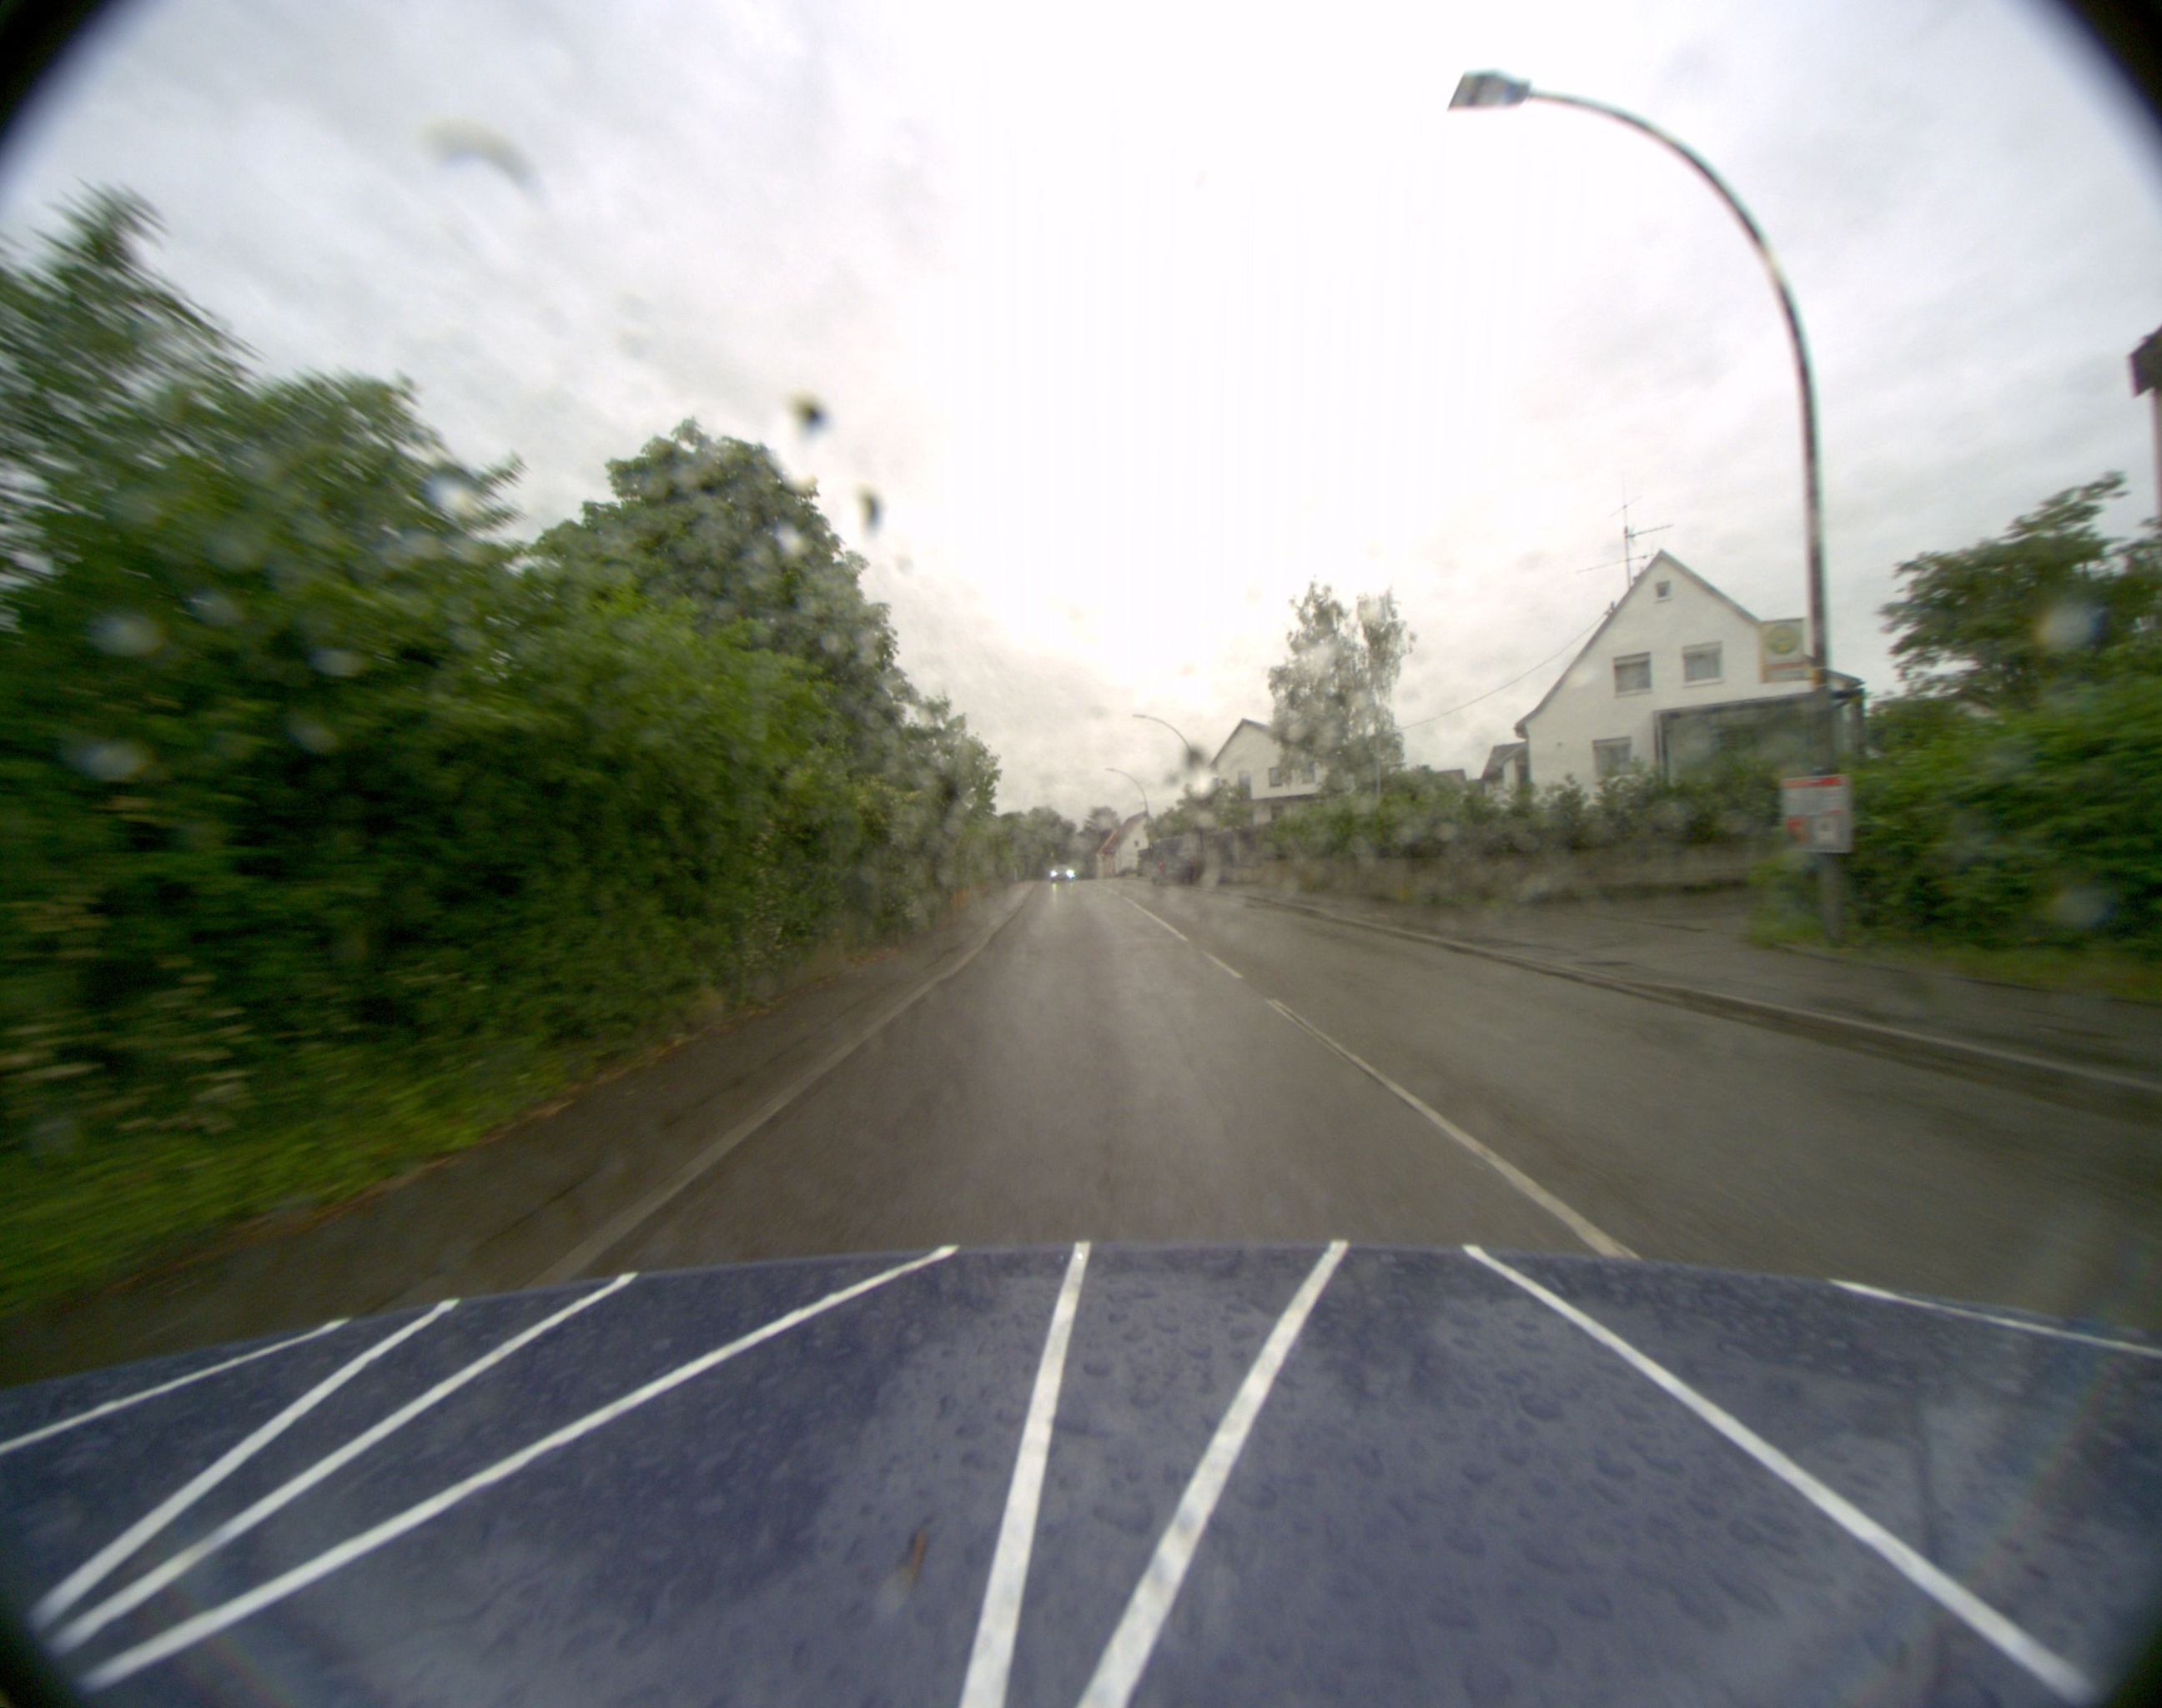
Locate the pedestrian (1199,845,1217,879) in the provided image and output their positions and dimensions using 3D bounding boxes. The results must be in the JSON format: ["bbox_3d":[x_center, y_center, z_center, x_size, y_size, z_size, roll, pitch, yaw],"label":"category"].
[{"bbox_3d":[7.213,0.429,43.068,0.679,1.875,0.811,-2,1,30],"label":"pedestrian"}]

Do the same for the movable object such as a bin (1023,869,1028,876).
[{"bbox_3d":[-7.315,2.445,100.510,0.628,1.015,0.541,-2,-1,2],"label":"movable object such as a bin"}]

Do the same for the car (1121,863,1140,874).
[{"bbox_3d":[7.154,2.086,110.163,1.904,1.433,3.834,-5,-3,15],"label":"car"}]

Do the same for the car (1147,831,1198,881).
[{"bbox_3d":[5.330,0.116,45.201,2.100,2.633,5.918,-4,0,0],"label":"car"}]

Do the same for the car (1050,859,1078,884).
[{"bbox_3d":[-1.496,1.481,65.311,1.999,2.001,3.999,-3,-1,-5],"label":"car"}]
